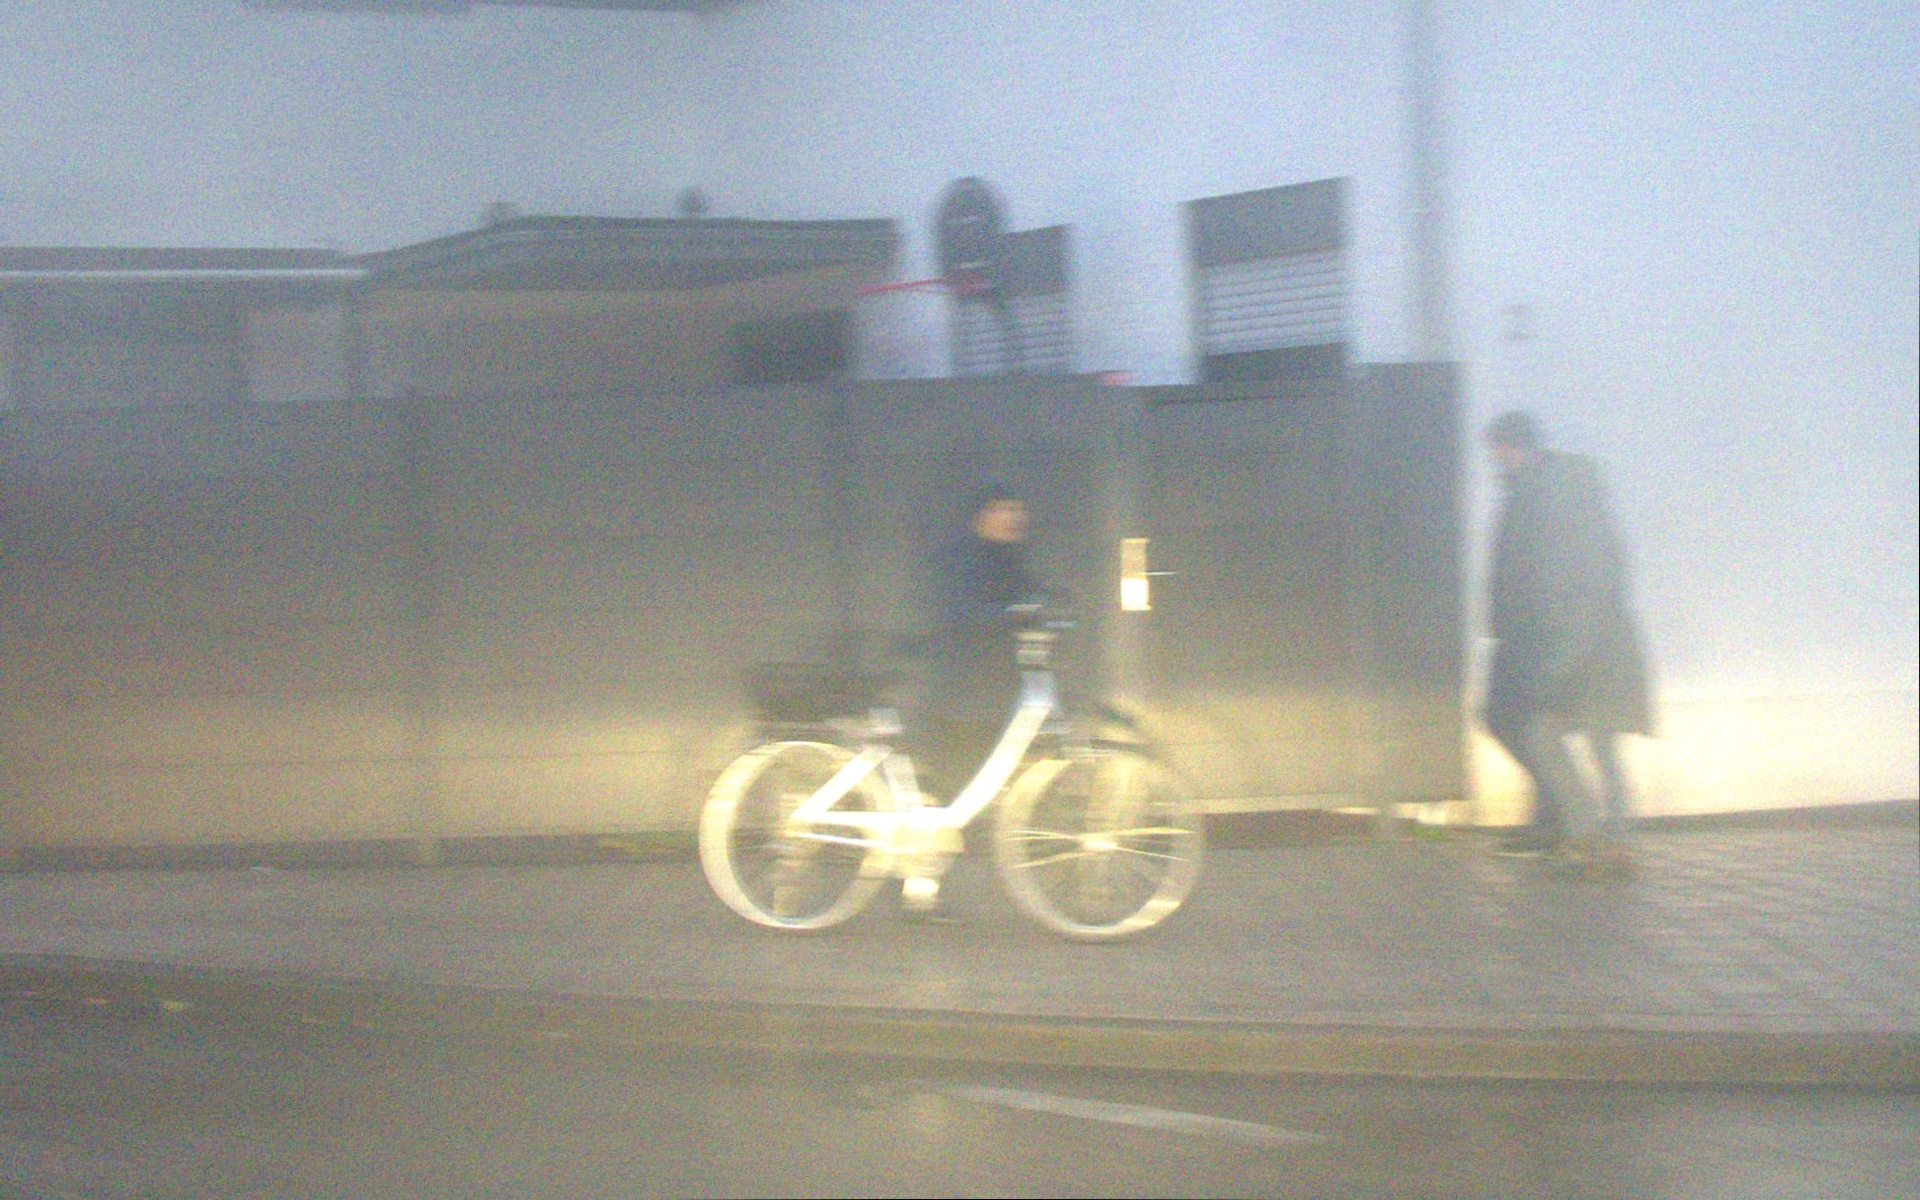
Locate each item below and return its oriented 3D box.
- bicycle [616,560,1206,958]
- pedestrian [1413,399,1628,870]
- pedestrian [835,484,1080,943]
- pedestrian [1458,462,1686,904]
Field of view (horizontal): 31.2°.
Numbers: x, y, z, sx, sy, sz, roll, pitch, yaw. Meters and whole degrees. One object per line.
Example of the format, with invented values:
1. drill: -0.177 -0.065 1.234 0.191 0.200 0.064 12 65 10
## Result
1. bicycle: -0.166 0.531 11.898 1.937 1.291 0.551 0 4 16
2. pedestrian: 2.227 0.118 13.712 0.715 1.825 0.637 -1 3 -3
3. pedestrian: 0.000 0.382 12.123 0.690 1.559 0.610 0 3 16
4. pedestrian: 2.298 0.295 12.954 0.715 1.615 0.582 -1 2 -3
